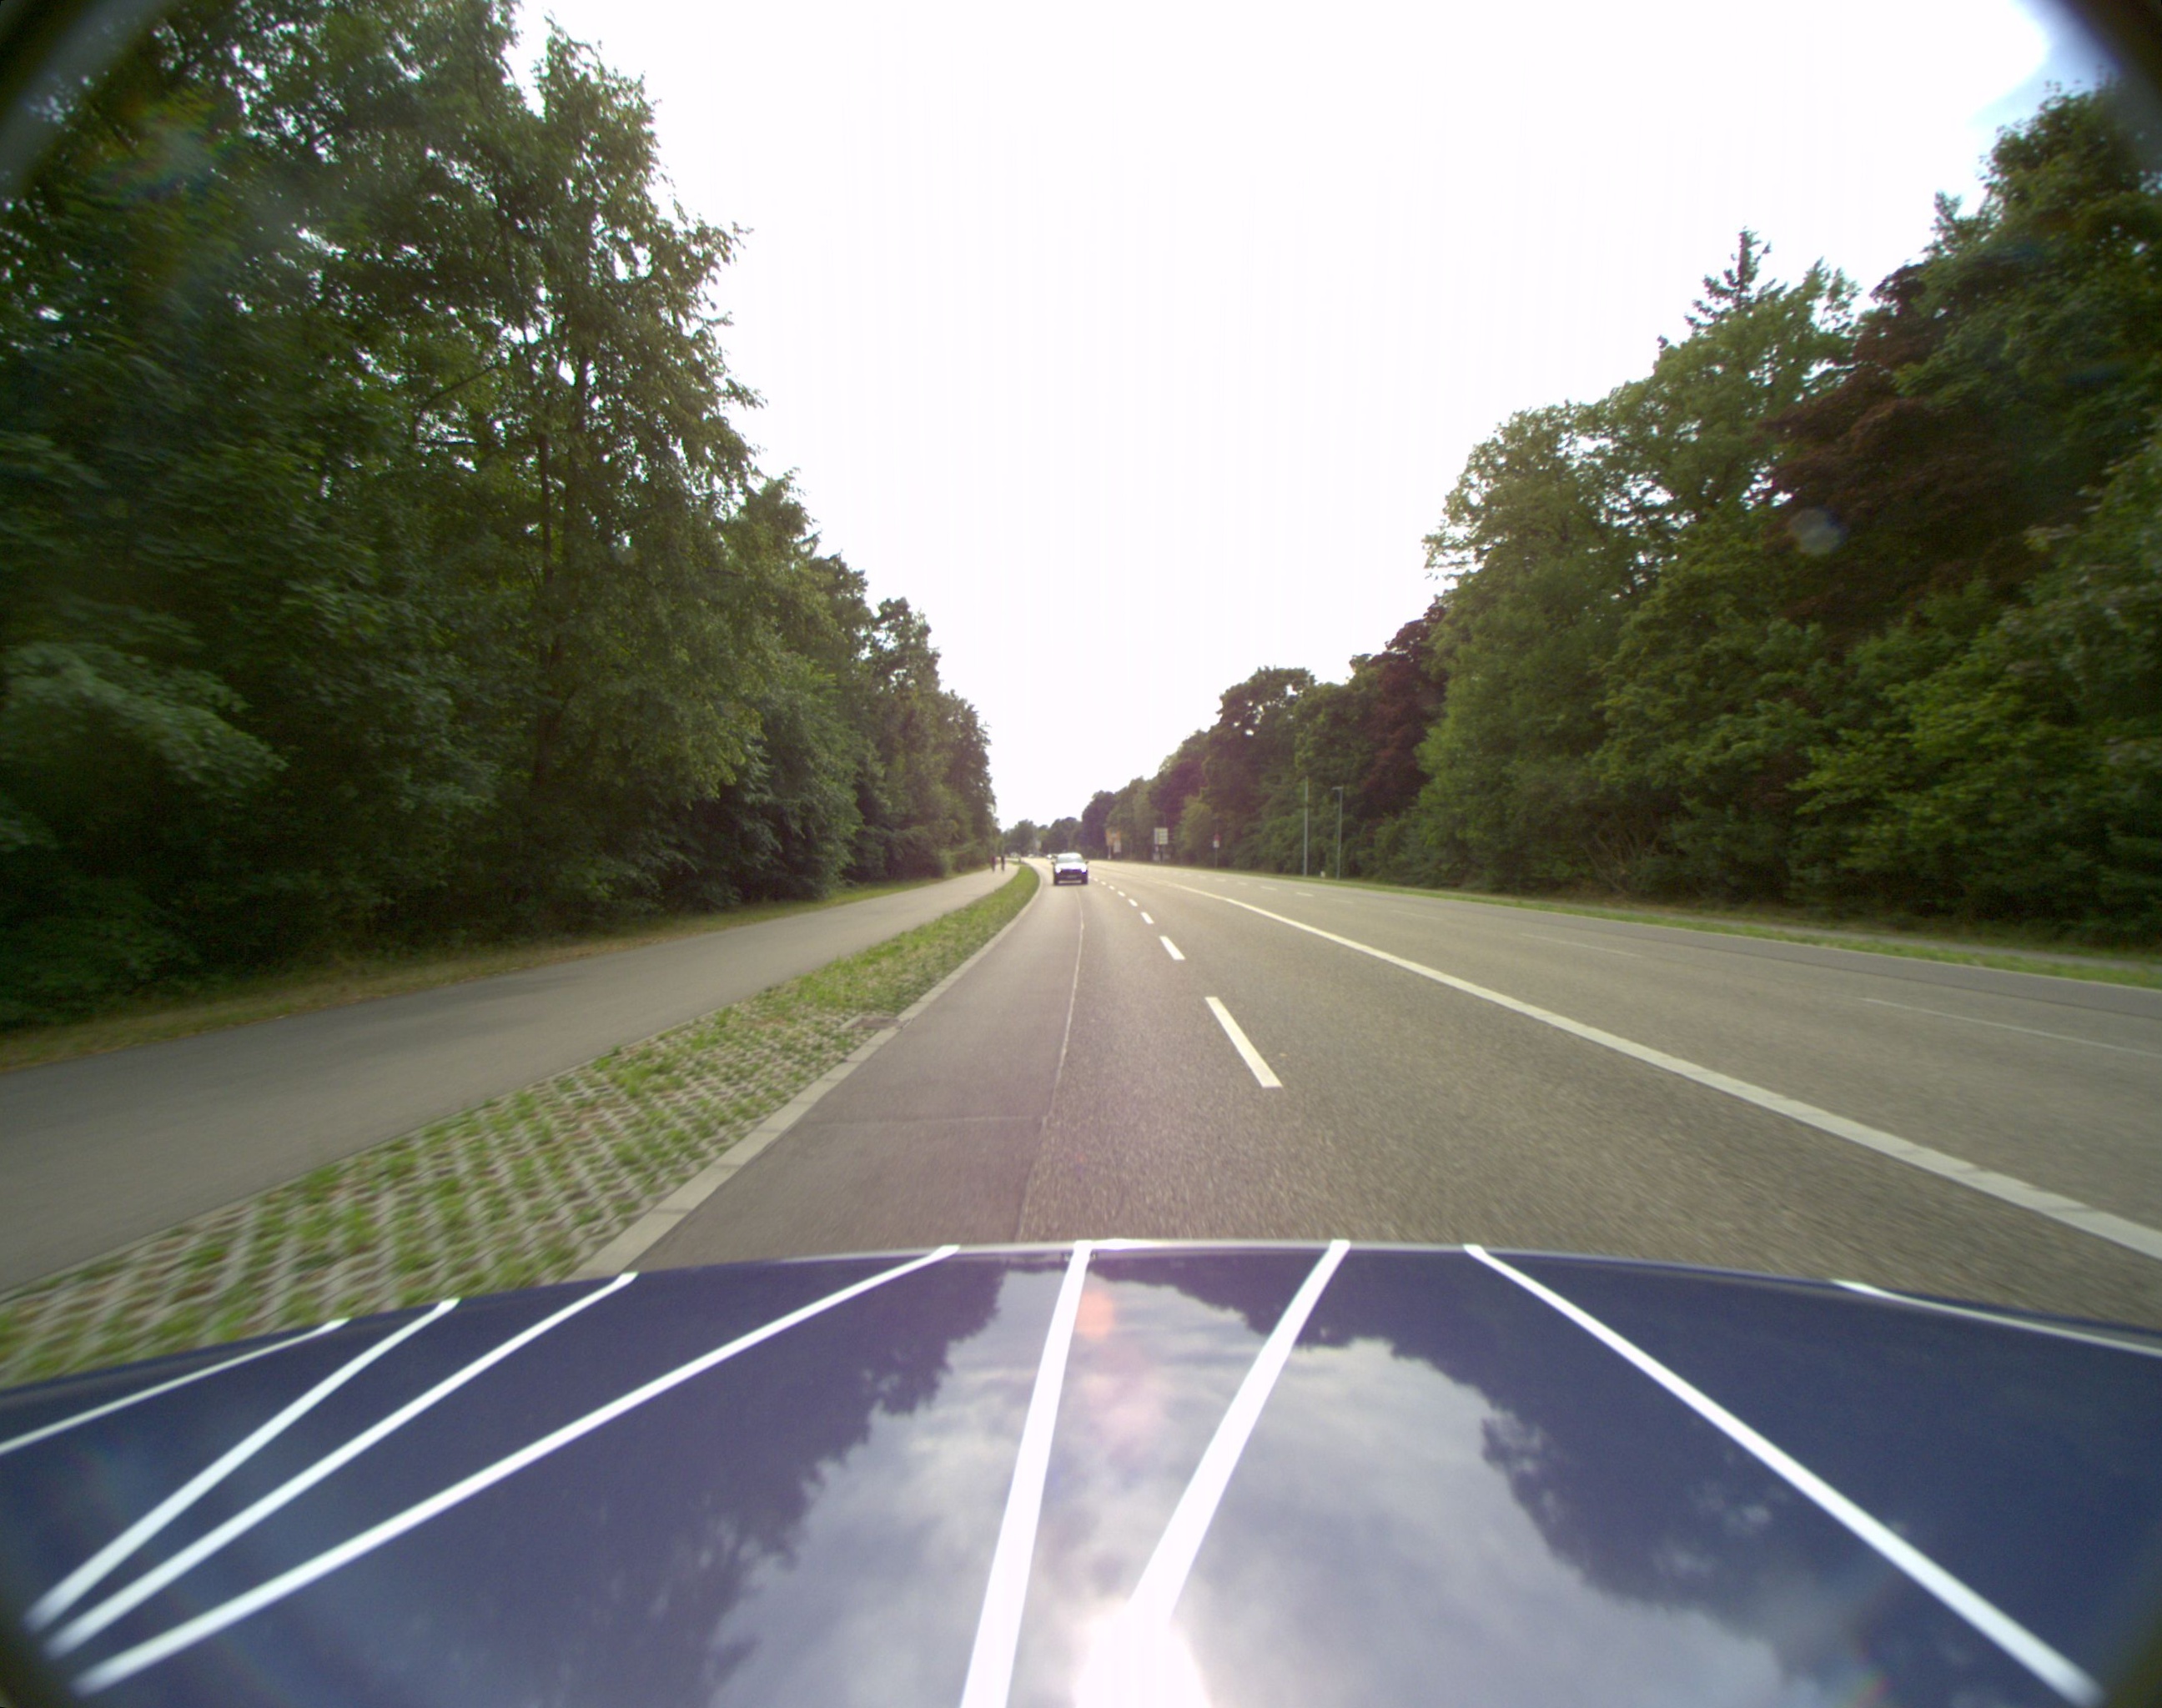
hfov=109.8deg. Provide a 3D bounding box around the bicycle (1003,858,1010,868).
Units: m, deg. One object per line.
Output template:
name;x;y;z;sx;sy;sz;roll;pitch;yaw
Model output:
bicycle;-7.108;0.859;72.332;0.567;0.906;1.753;2;1;-6

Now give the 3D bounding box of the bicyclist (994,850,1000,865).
bicyclist;-8.017;0.355;72.183;0.521;1.407;1.185;-2;1;-6

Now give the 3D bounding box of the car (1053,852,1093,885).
car;-0.500;0.762;42.107;1.999;1.565;3.998;-3;1;-3

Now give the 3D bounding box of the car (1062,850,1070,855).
car;-4.787;-0.384;247.422;1.747;1.467;3.995;-3;1;-11

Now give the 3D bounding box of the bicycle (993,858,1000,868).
bicycle;-8.014;0.820;72.152;0.567;0.906;1.886;2;-1;-6

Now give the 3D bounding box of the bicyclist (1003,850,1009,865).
bicyclist;-7.105;0.359;72.227;0.521;1.407;1.185;-1;1;-6
